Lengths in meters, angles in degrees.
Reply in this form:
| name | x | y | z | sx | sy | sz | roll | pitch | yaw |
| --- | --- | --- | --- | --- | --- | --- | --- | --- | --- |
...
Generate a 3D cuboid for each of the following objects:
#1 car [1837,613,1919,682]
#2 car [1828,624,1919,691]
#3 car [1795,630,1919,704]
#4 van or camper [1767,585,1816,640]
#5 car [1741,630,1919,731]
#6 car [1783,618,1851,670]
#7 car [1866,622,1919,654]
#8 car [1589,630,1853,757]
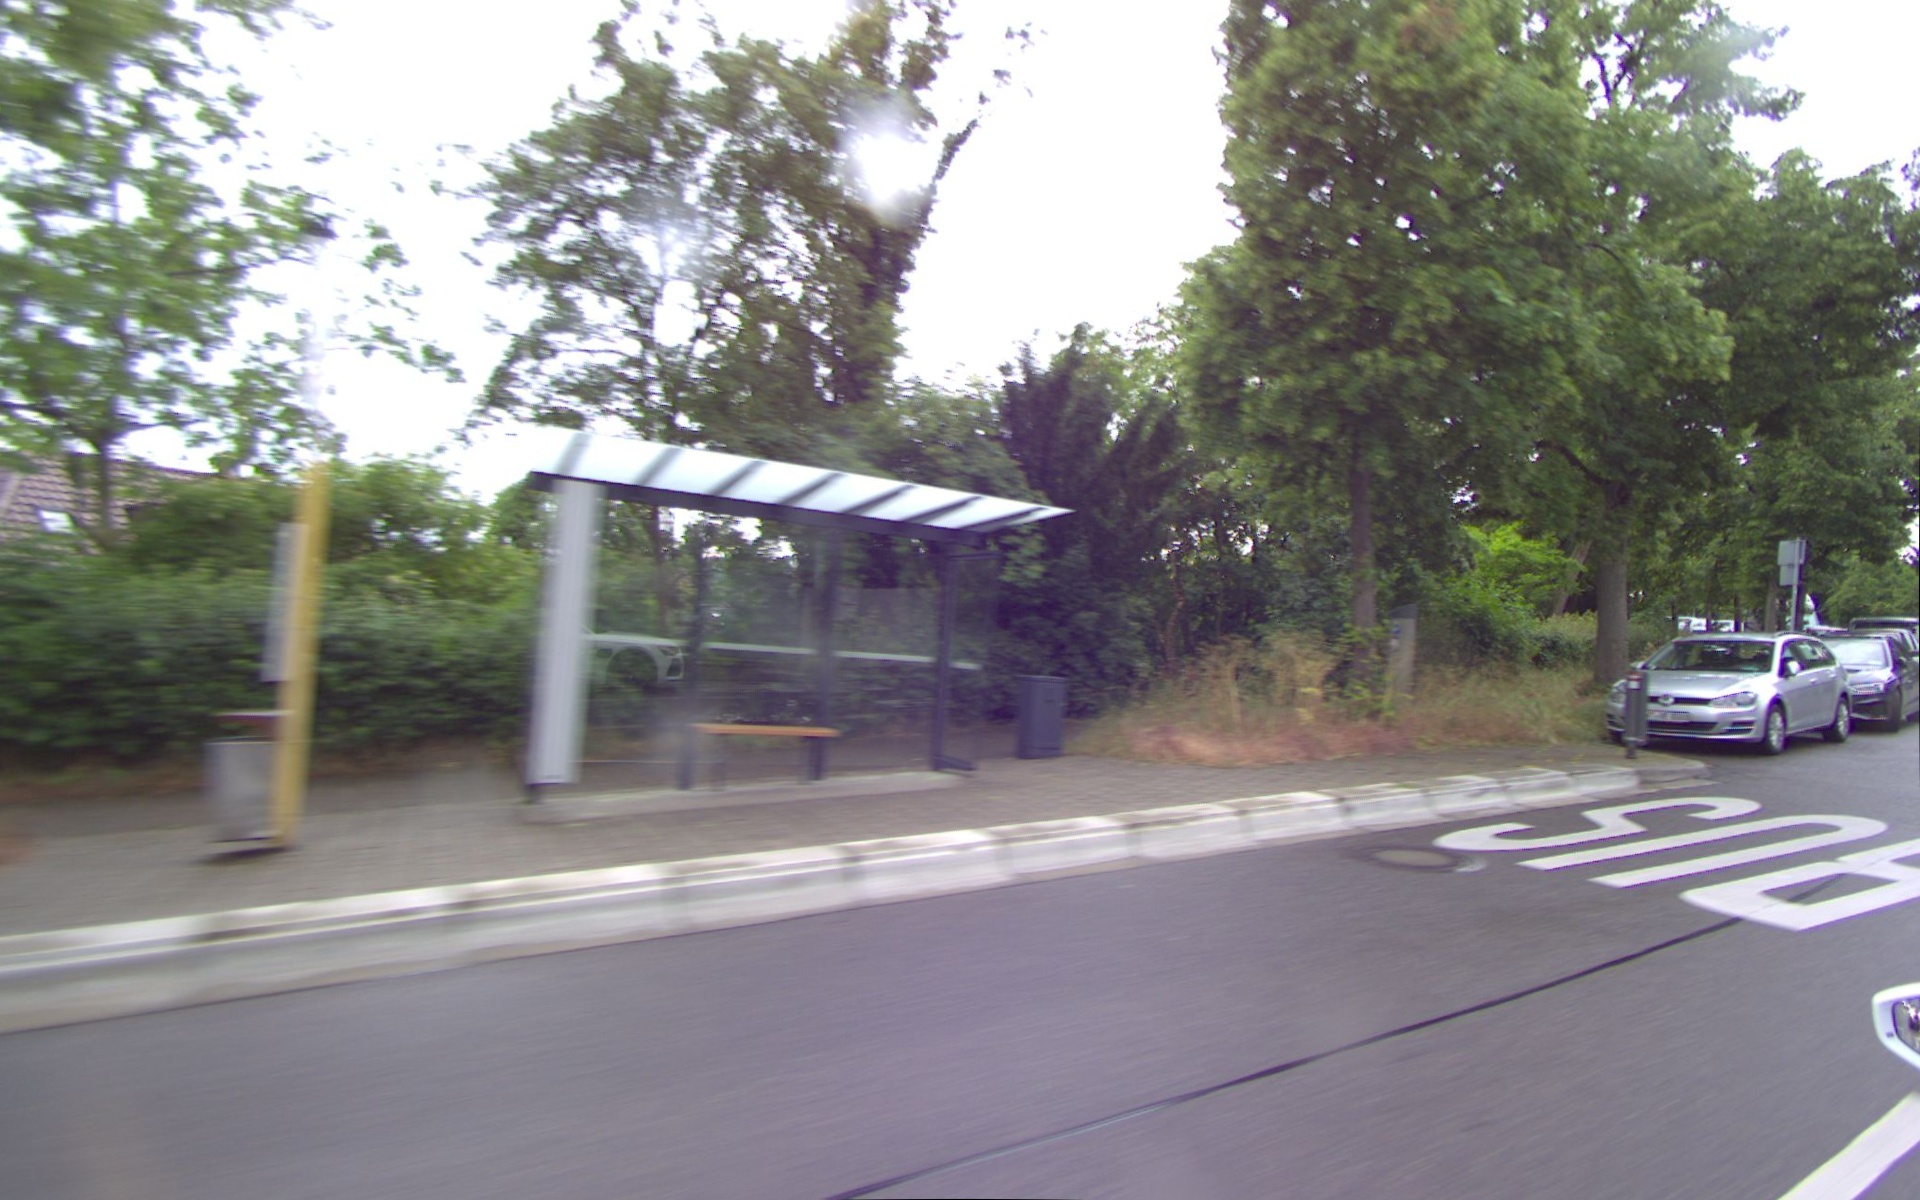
| name | x | y | z | sx | sy | sz | roll | pitch | yaw |
| --- | --- | --- | --- | --- | --- | --- | --- | --- | --- |
| car | 26.687 | 1.354 | 29.076 | 1.817 | 1.868 | 3.880 | -1 | -2 | 43 |
| car | 23.219 | 1.415 | 25.403 | 1.656 | 1.572 | 3.878 | -1 | -2 | 44 |
| car | 19.328 | 1.374 | 21.460 | 3.968 | 1.445 | 1.660 | 2 | -2 | -41 |
| van or camper | 42.302 | 0.686 | 51.165 | 1.758 | 2.686 | 3.973 | -1 | -2 | 38 |
| car | 14.324 | 1.235 | 16.356 | 3.965 | 1.445 | 1.661 | 2 | -2 | -39 |
| car | 35.947 | 1.824 | 42.208 | 1.969 | 2.040 | 3.984 | -1 | -2 | 38 |
| car | 47.794 | 1.929 | 50.878 | 1.739 | 1.591 | 4.027 | 0 | -2 | 26 |
| car | 10.150 | 1.137 | 13.323 | 3.960 | 1.445 | 1.663 | 2 | -2 | -35 |
